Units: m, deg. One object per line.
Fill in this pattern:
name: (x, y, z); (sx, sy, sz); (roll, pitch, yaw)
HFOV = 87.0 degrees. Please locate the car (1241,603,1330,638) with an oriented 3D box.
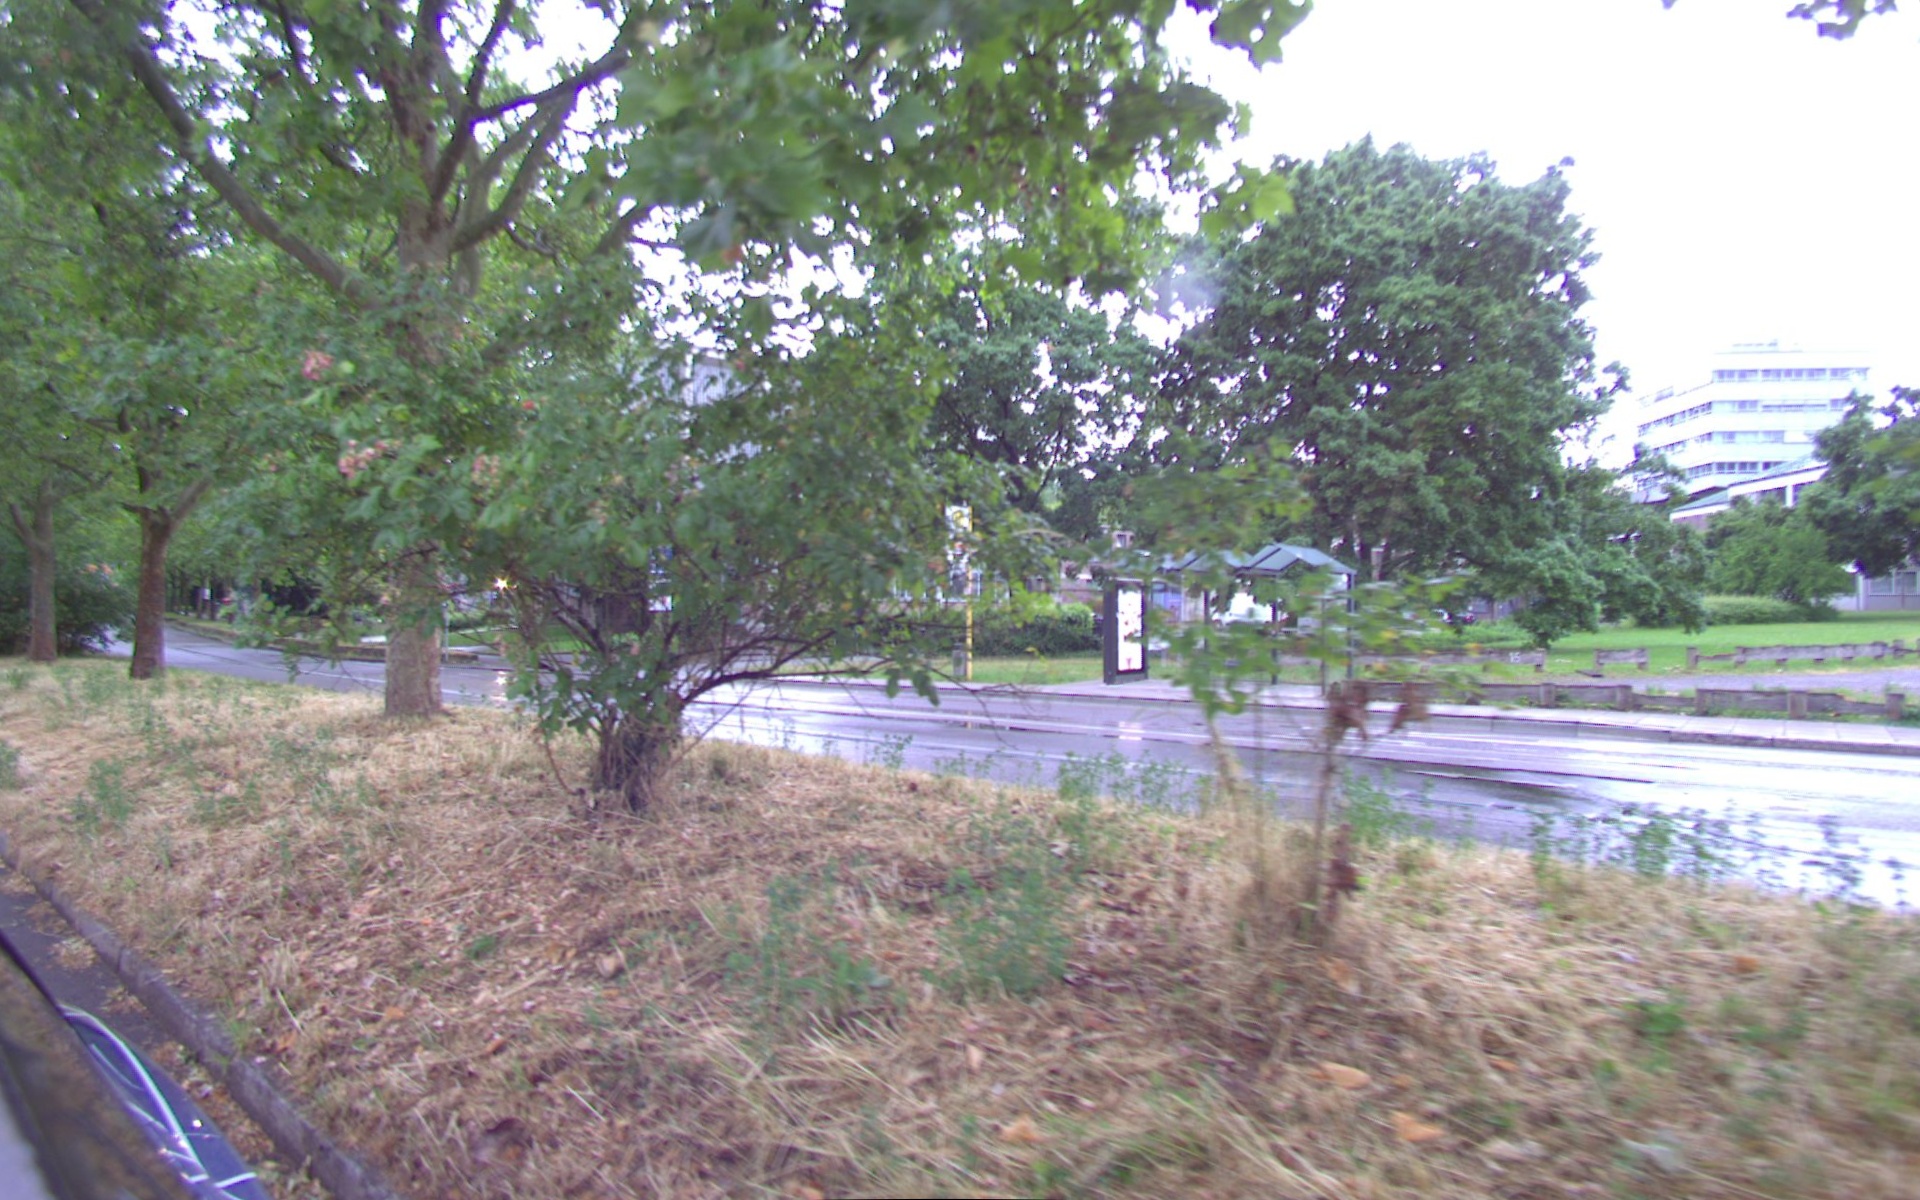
car: (20.799, 1.280, 64.931); (2.251, 2.037, 5.091); (-1, 1, -36)

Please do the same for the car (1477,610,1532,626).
car: (43.901, 1.437, 81.660); (1.566, 1.151, 3.564); (-1, 1, -37)

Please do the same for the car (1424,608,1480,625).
car: (37.666, 1.251, 77.538); (1.566, 1.151, 3.564); (-1, 1, -37)

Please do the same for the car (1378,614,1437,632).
car: (32.189, 1.671, 72.825); (1.566, 1.151, 3.564); (-1, 1, -37)

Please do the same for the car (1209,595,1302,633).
car: (18.336, 0.818, 63.053); (2.080, 2.229, 5.483); (-1, 1, -33)
